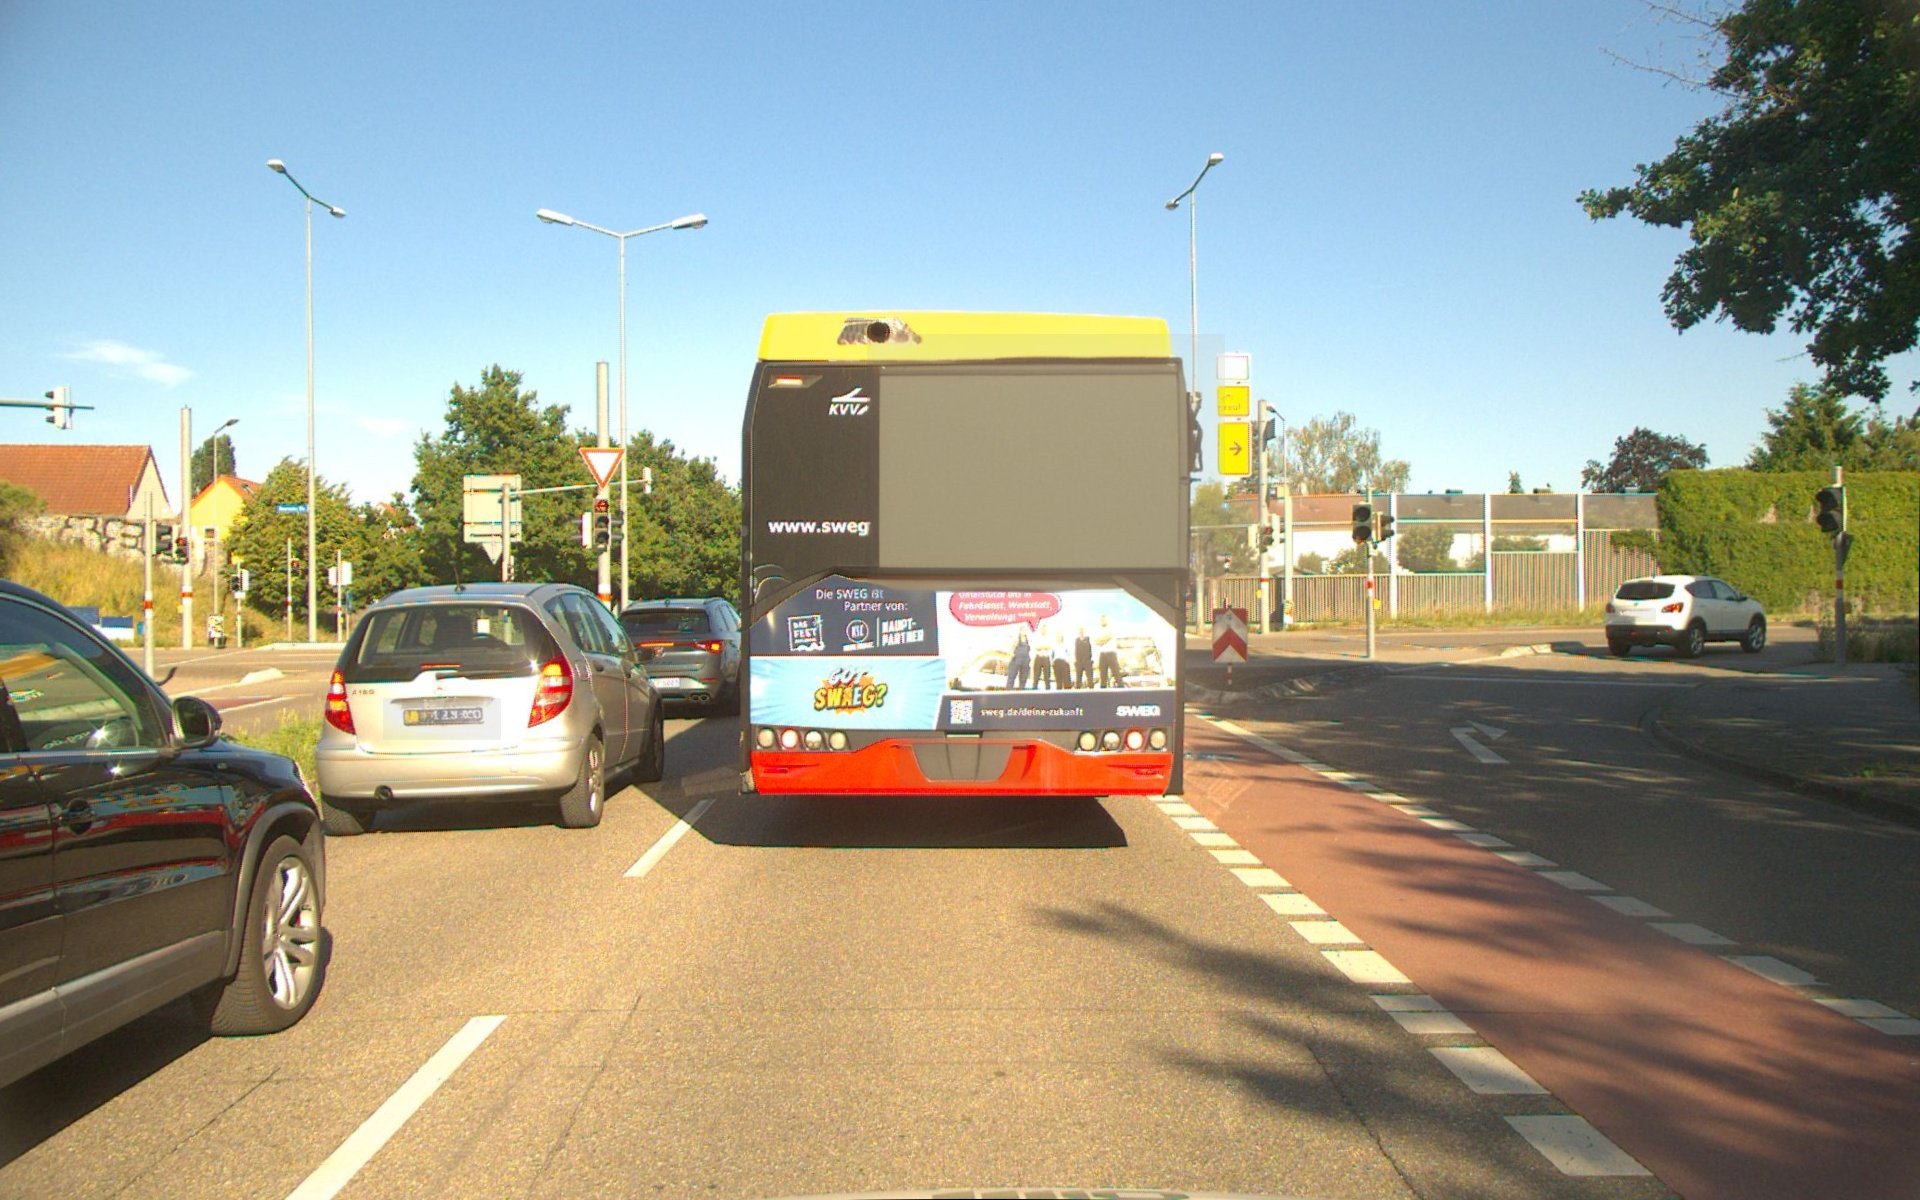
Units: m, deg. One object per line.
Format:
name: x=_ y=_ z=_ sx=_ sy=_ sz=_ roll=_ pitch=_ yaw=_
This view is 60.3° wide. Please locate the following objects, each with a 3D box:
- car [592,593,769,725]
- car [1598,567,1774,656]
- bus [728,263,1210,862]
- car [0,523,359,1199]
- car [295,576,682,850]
car: x=-3.454 y=0.677 z=21.059 sx=1.658 sy=1.484 sz=3.750 roll=-2 pitch=0 yaw=-1
car: x=14.967 y=0.195 z=34.010 sx=4.029 sy=1.635 sz=1.699 roll=-2 pitch=2 yaw=-40
bus: x=0.017 y=-0.253 z=14.894 sx=2.589 sy=3.222 sz=11.860 roll=0 pitch=0 yaw=0
car: x=-3.148 y=0.687 z=4.304 sx=1.736 sy=1.682 sz=3.999 roll=-2 pitch=0 yaw=-1
car: x=-3.221 y=0.682 z=12.131 sx=1.725 sy=1.617 sz=3.999 roll=-2 pitch=0 yaw=-1
